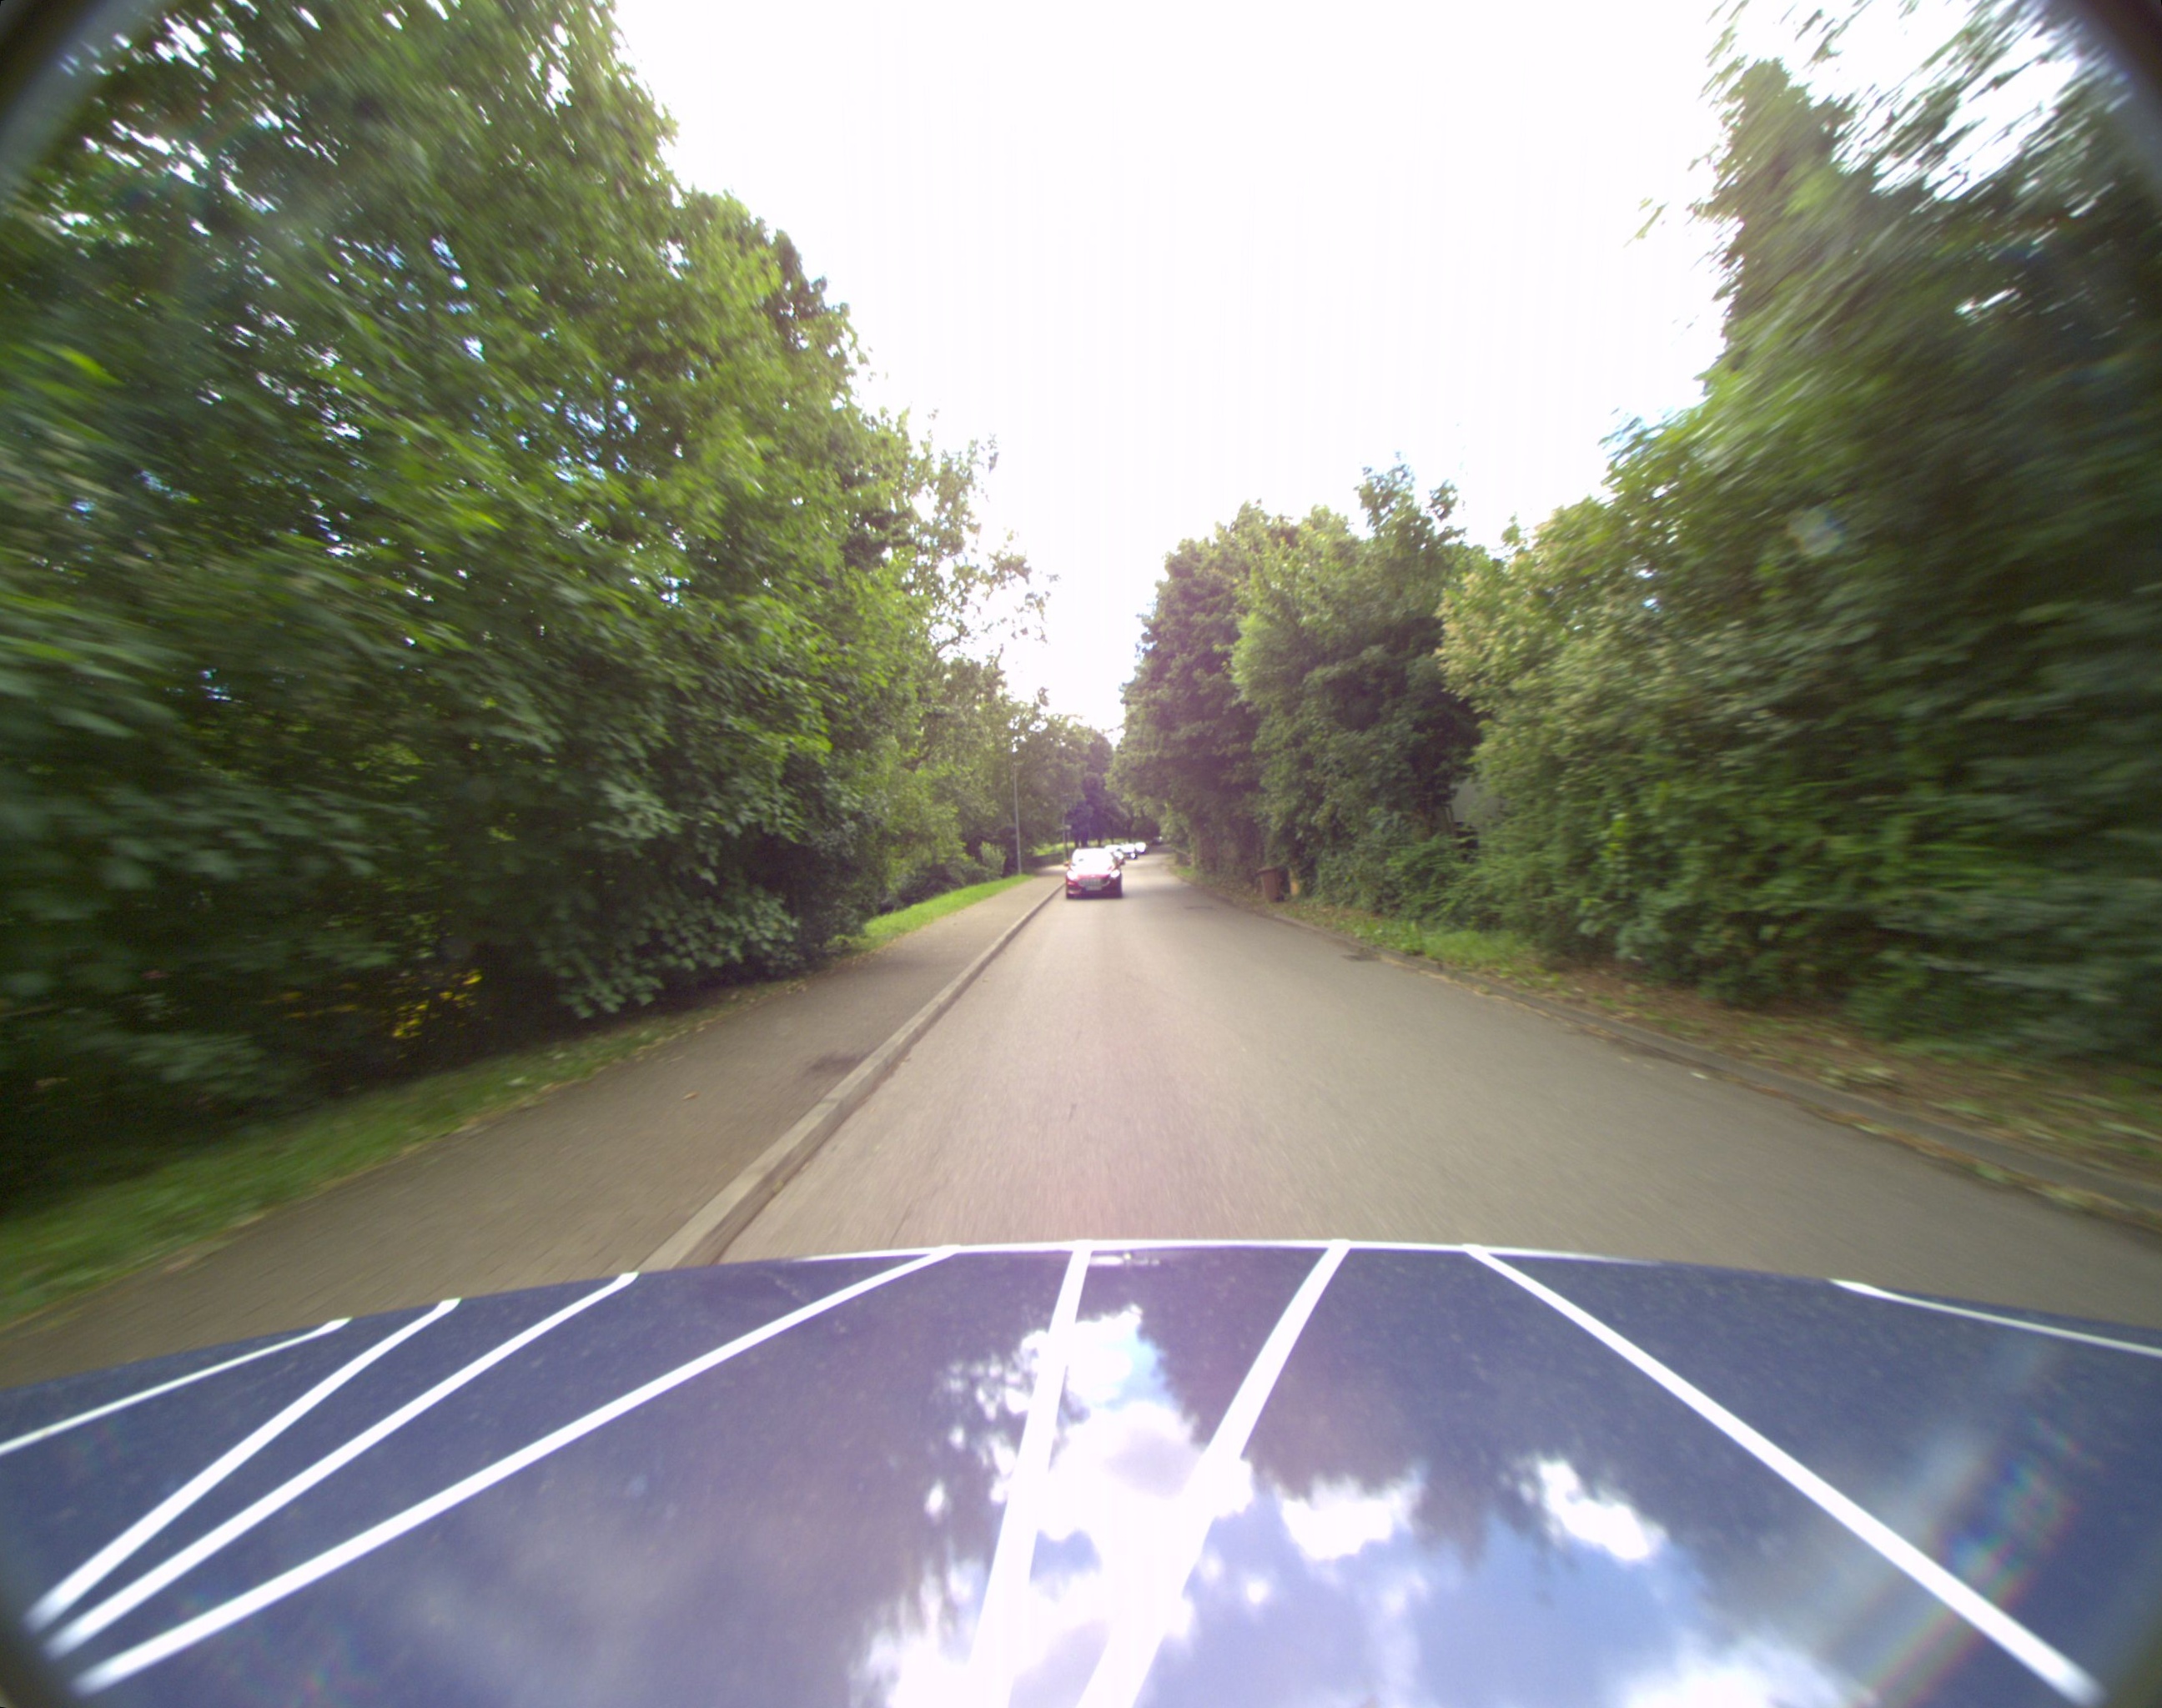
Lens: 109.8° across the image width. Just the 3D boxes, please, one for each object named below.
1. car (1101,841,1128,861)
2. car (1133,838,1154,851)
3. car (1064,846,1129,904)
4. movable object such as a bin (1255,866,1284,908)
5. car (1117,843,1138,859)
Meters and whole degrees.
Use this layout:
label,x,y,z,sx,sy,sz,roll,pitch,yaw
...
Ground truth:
label,x,y,z,sx,sy,sz,roll,pitch,yaw
car,2.869,-0.250,64.011,1.997,1.521,4.001,-2,1,6
car,7.931,-1.167,95.989,1.996,1.521,4.003,-1,1,14
car,0.596,0.623,25.495,1.816,1.718,4.001,-1,1,6
movable object such as a bin,4.682,0.811,18.818,0.649,1.007,0.632,-1,2,16
car,4.873,-0.334,79.671,1.997,1.521,4.001,-2,1,6
